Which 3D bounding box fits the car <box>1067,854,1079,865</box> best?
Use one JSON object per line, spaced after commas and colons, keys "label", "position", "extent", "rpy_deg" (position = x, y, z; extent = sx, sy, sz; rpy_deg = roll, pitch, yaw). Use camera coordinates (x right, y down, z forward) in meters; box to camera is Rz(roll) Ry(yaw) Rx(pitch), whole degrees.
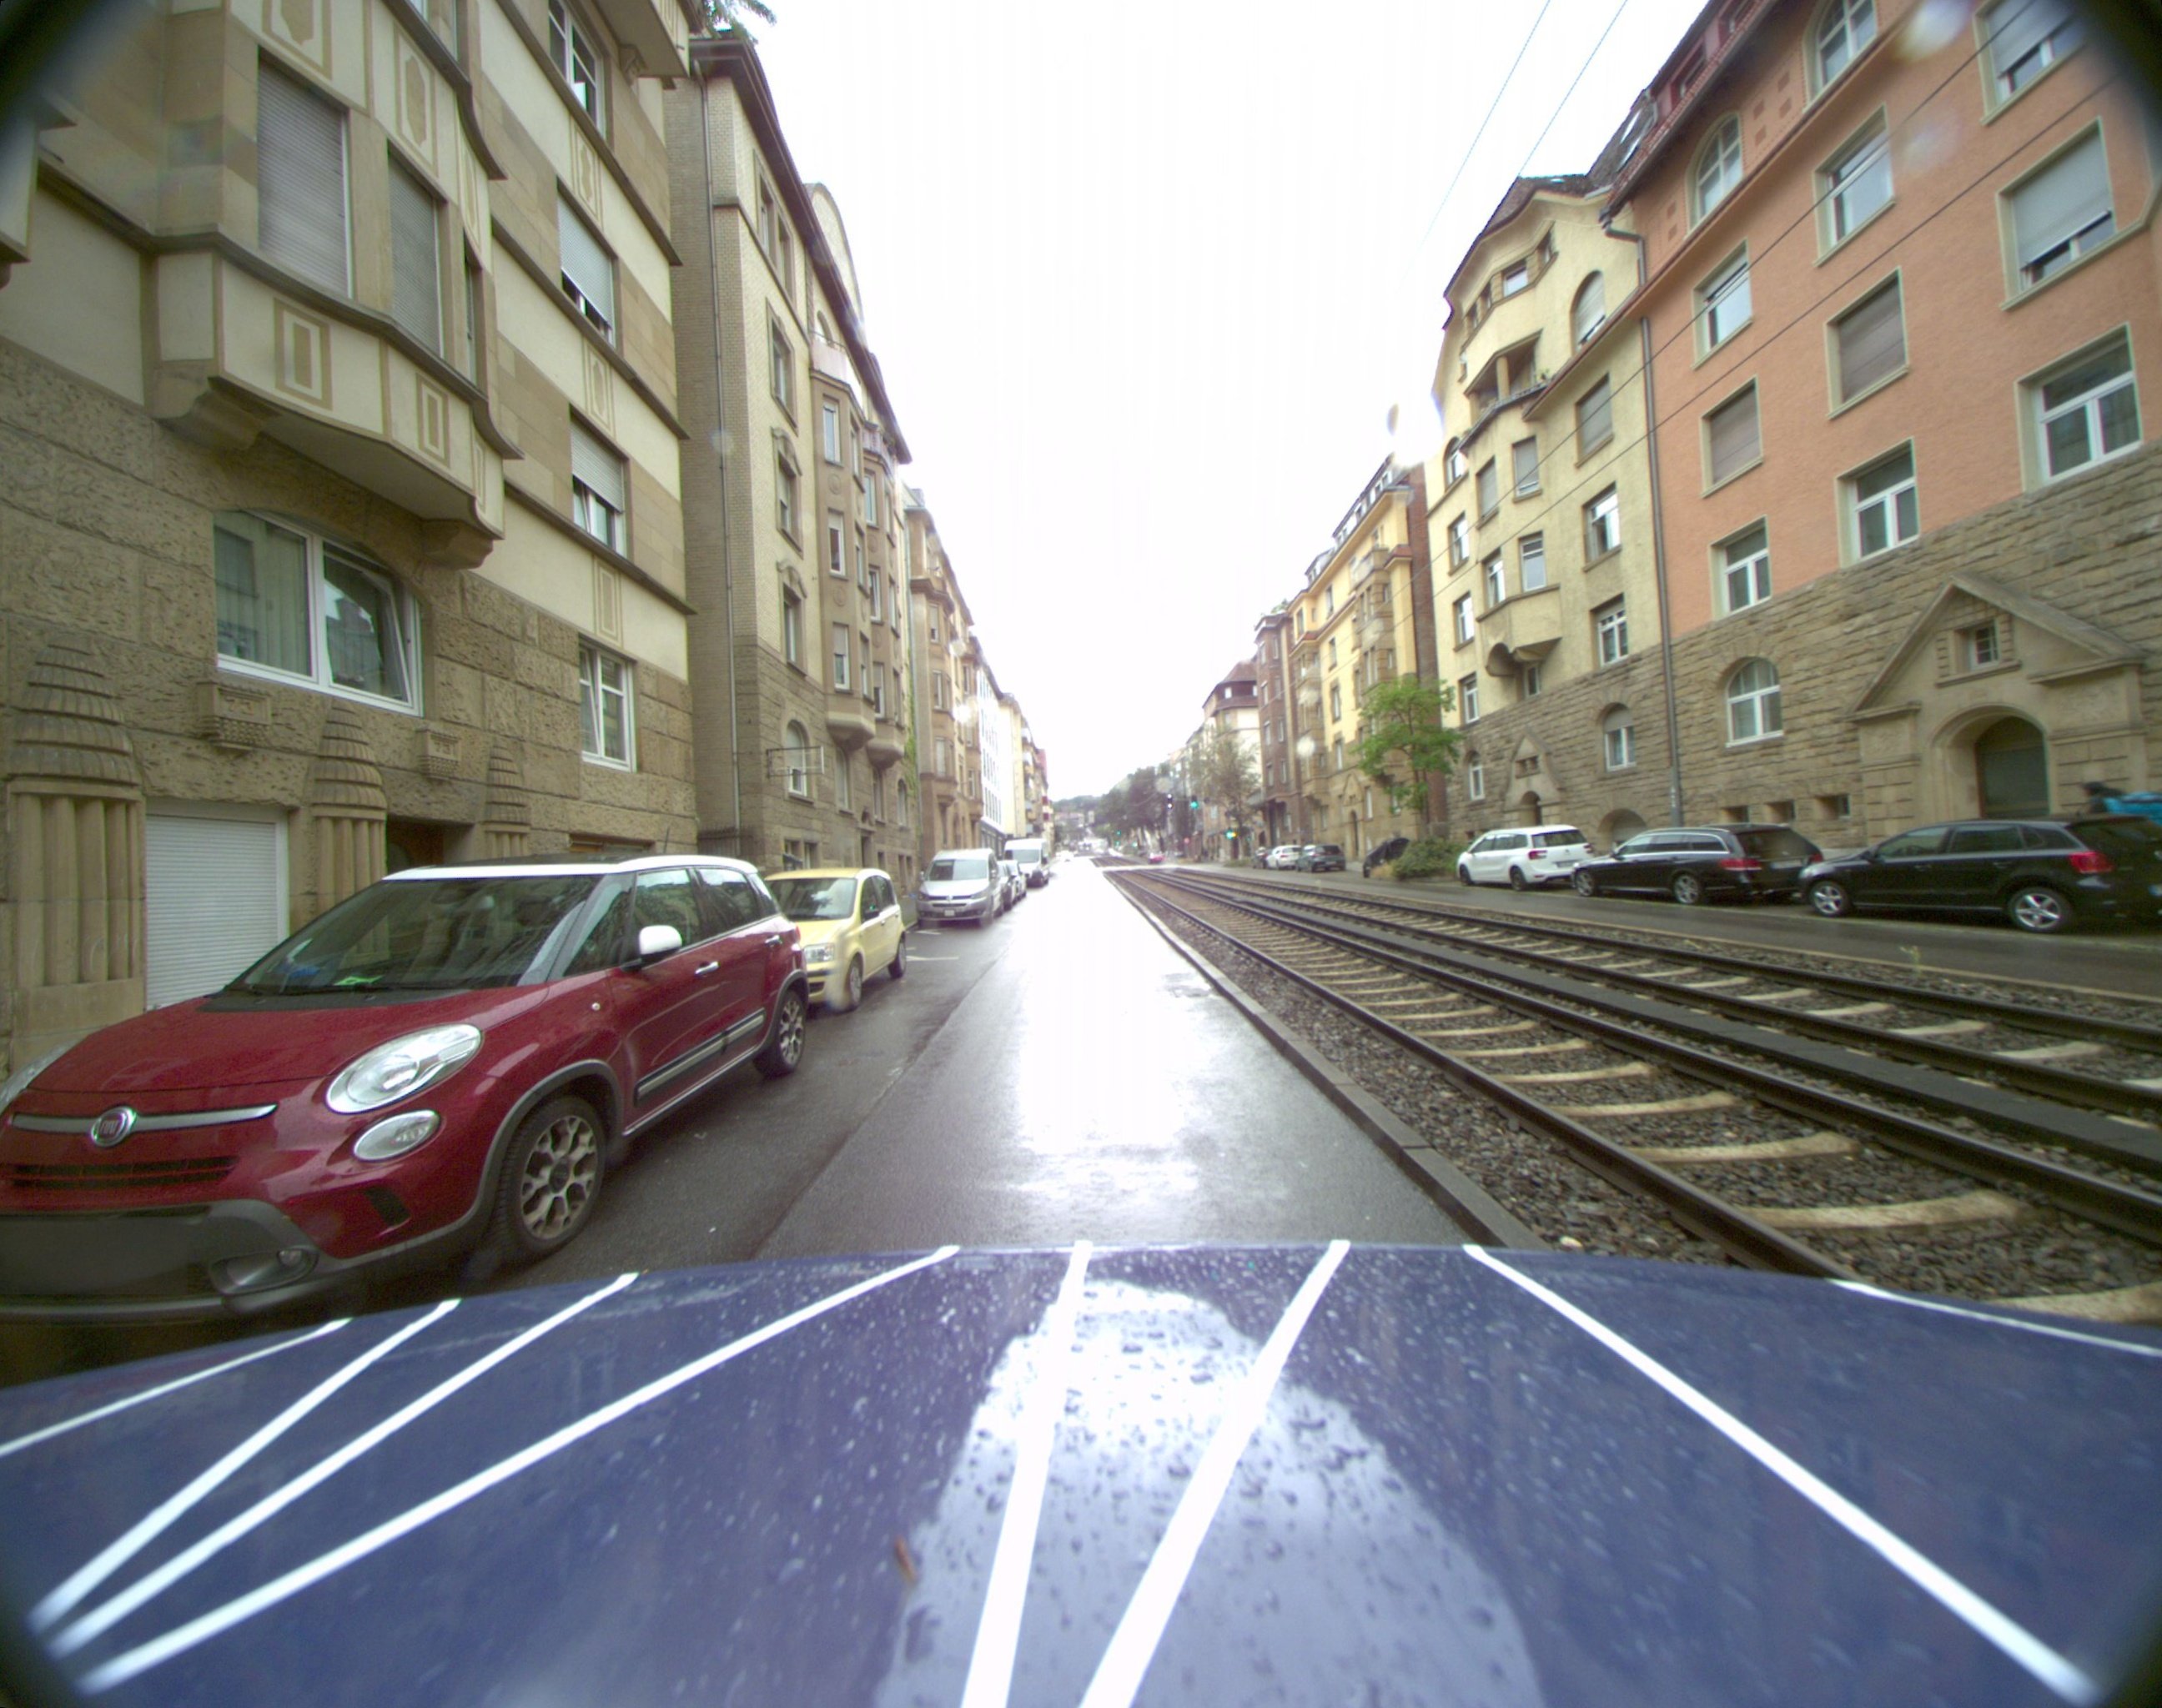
{"label": "car", "position": [-1.405, 0.891, 133.157], "extent": [1.998, 1.838, 4.000], "rpy_deg": [-3, 0, 1]}

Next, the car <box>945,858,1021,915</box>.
{"label": "car", "position": [-2.963, 0.934, 23.835], "extent": [1.999, 1.521, 3.999], "rpy_deg": [-3, 0, -3]}

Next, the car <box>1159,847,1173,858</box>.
{"label": "car", "position": [12.878, -0.274, 115.384], "extent": [1.771, 1.507, 3.845], "rpy_deg": [-3, 0, 1]}

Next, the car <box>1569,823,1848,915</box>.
{"label": "car", "position": [12.292, 0.256, 15.403], "extent": [1.847, 1.486, 4.601], "rpy_deg": [-3, 0, 1]}

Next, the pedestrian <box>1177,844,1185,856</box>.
{"label": "pedestrian", "position": [16.486, -0.686, 125.220], "extent": [1.056, 1.946, 1.163], "rpy_deg": [-3, 1, 2]}

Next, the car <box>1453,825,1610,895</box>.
{"label": "car", "position": [12.274, 0.143, 21.065], "extent": [1.867, 1.646, 4.146], "rpy_deg": [-3, 0, 1]}

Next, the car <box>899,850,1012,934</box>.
{"label": "car", "position": [-3.010, 0.844, 19.219], "extent": [1.968, 1.792, 4.459], "rpy_deg": [-3, 0, 1]}

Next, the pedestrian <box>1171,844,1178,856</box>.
{"label": "pedestrian", "position": [15.402, -0.649, 125.224], "extent": [1.056, 1.946, 1.163], "rpy_deg": [-3, 1, 2]}

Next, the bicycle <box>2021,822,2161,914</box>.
{"label": "bicycle", "position": [14.408, 0.174, 10.258], "extent": [0.826, 1.179, 2.037], "rpy_deg": [-3, 0, -2]}

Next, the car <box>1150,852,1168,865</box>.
{"label": "car", "position": [9.971, 0.562, 96.936], "extent": [1.807, 1.514, 4.964], "rpy_deg": [-2, 0, 1]}

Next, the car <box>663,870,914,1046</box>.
{"label": "car", "position": [-3.190, 1.036, 9.060], "extent": [1.580, 1.520, 3.578], "rpy_deg": [-3, 0, -1]}

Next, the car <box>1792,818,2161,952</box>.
{"label": "car", "position": [12.529, 0.323, 10.485], "extent": [1.935, 1.488, 3.642], "rpy_deg": [-2, 1, -2]}

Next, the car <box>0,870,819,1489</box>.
{"label": "car", "position": [-3.034, 0.973, 4.112], "extent": [1.807, 1.590, 3.999], "rpy_deg": [-3, 0, -1]}

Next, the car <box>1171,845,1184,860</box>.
{"label": "car", "position": [12.679, -0.231, 99.564], "extent": [1.583, 1.669, 3.790], "rpy_deg": [-3, 2, 7]}

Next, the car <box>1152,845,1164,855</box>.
{"label": "car", "position": [12.848, -0.631, 126.854], "extent": [1.657, 1.589, 3.775], "rpy_deg": [-3, 0, 1]}

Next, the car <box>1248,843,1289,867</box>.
{"label": "car", "position": [12.485, 0.074, 50.766], "extent": [1.771, 1.433, 3.845], "rpy_deg": [-3, 0, 1]}

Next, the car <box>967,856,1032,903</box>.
{"label": "car", "position": [-2.952, 0.876, 28.336], "extent": [1.891, 1.521, 3.929], "rpy_deg": [-3, 0, 1]}

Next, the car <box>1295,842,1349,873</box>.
{"label": "car", "position": [12.507, 0.138, 39.633], "extent": [1.678, 1.433, 3.845], "rpy_deg": [-4, 1, 3]}

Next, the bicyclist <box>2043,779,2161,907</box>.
{"label": "bicyclist", "position": [14.397, -0.164, 10.316], "extent": [0.886, 1.588, 1.253], "rpy_deg": [-9, 1, -3]}

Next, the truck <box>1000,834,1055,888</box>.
{"label": "truck", "position": [-2.721, 0.338, 39.965], "extent": [2.235, 2.521, 6.143], "rpy_deg": [-3, 0, 1]}

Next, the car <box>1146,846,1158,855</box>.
{"label": "car", "position": [12.445, -0.631, 133.723], "extent": [1.632, 1.537, 3.801], "rpy_deg": [-3, 0, 1]}

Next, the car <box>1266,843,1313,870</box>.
{"label": "car", "position": [12.475, 0.127, 45.672], "extent": [1.771, 1.433, 4.031], "rpy_deg": [-3, 0, 2]}
